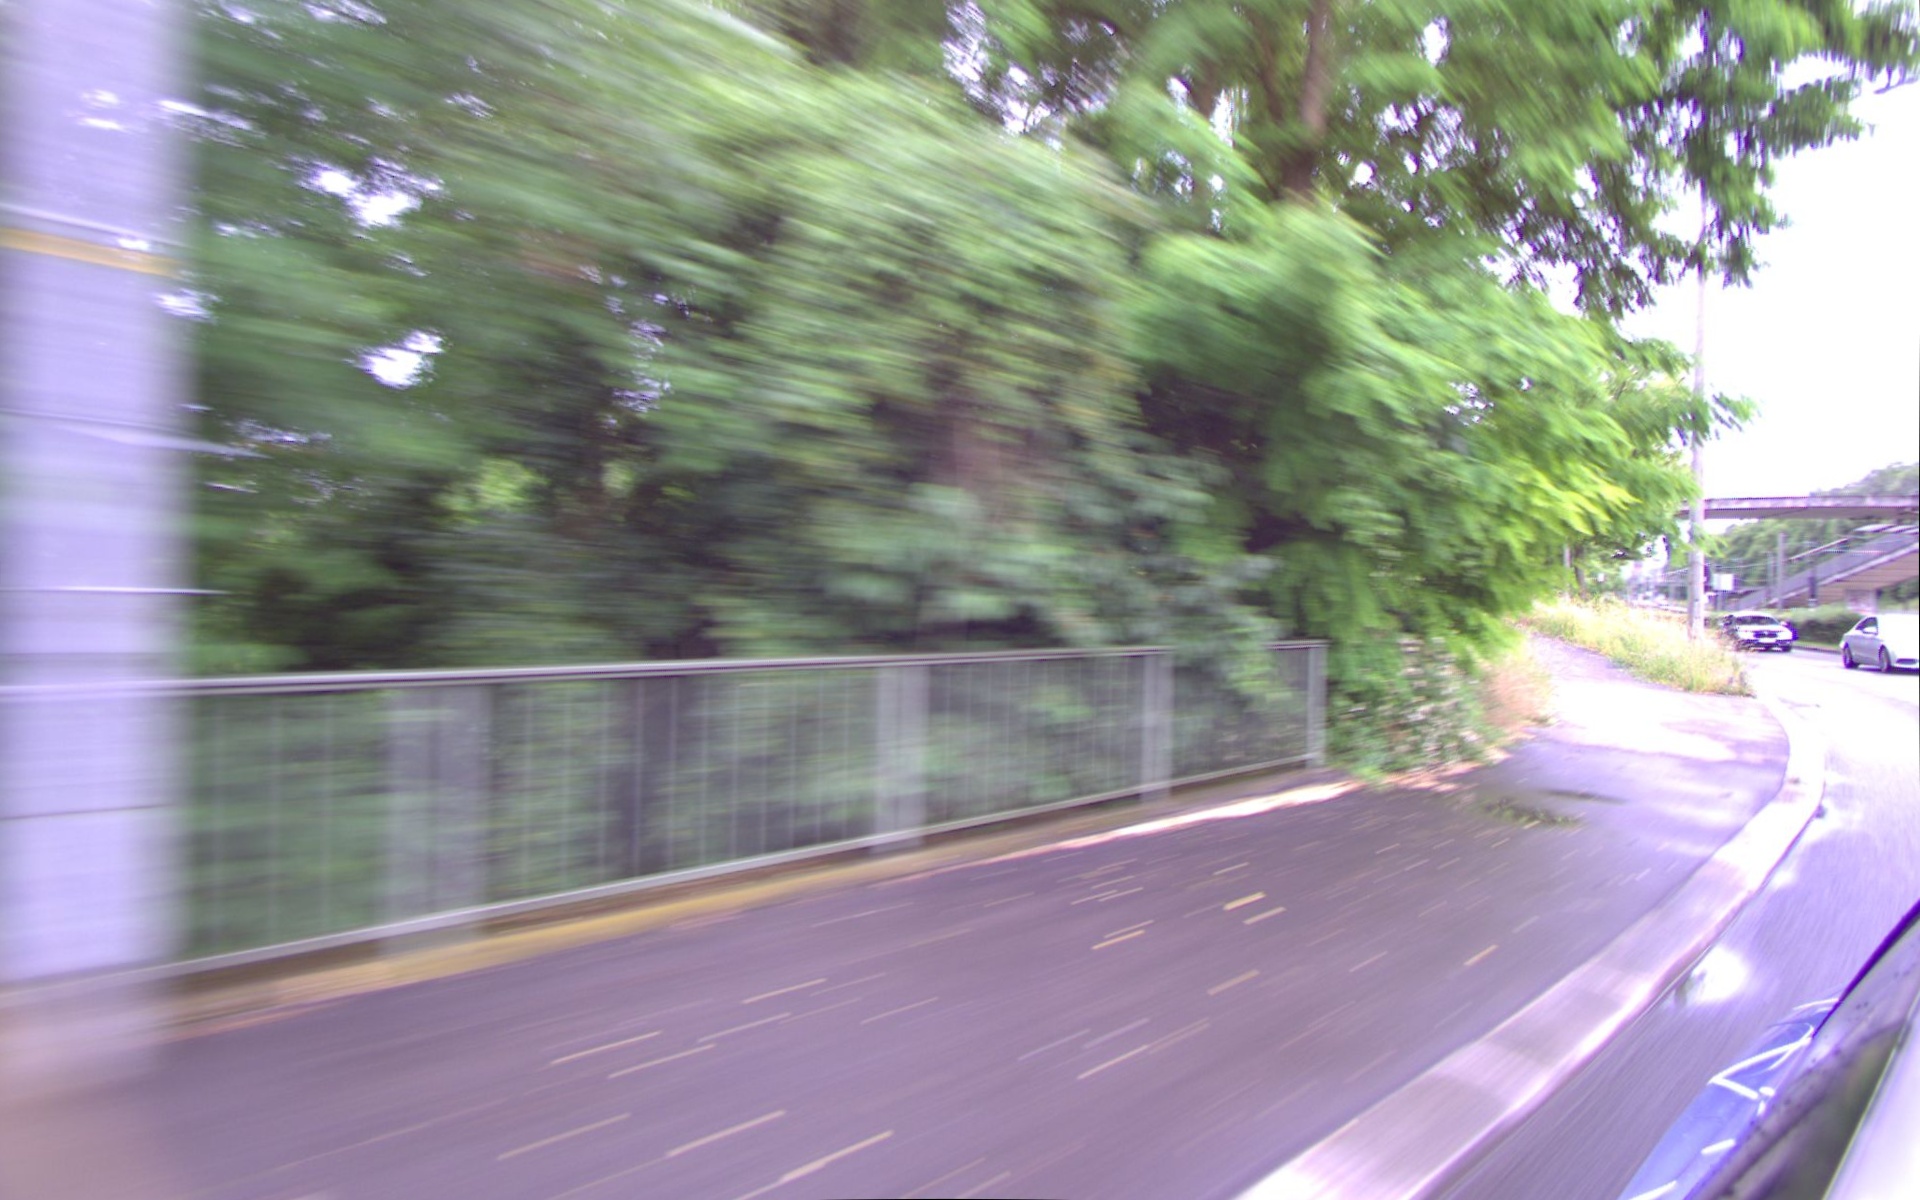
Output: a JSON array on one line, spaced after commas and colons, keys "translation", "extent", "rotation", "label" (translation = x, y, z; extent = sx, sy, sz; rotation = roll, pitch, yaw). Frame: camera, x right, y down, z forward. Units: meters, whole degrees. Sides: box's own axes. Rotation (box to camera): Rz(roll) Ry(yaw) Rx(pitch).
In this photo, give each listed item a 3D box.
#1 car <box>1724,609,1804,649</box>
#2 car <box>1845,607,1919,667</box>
[{"translation": [30.785, 1.078, 38.867], "extent": [1.722, 1.369, 3.960], "rotation": [1, 1, 29], "label": "car"}, {"translation": [23.433, 0.883, 24.608], "extent": [1.854, 1.373, 4.023], "rotation": [0, -1, 26], "label": "car"}]
